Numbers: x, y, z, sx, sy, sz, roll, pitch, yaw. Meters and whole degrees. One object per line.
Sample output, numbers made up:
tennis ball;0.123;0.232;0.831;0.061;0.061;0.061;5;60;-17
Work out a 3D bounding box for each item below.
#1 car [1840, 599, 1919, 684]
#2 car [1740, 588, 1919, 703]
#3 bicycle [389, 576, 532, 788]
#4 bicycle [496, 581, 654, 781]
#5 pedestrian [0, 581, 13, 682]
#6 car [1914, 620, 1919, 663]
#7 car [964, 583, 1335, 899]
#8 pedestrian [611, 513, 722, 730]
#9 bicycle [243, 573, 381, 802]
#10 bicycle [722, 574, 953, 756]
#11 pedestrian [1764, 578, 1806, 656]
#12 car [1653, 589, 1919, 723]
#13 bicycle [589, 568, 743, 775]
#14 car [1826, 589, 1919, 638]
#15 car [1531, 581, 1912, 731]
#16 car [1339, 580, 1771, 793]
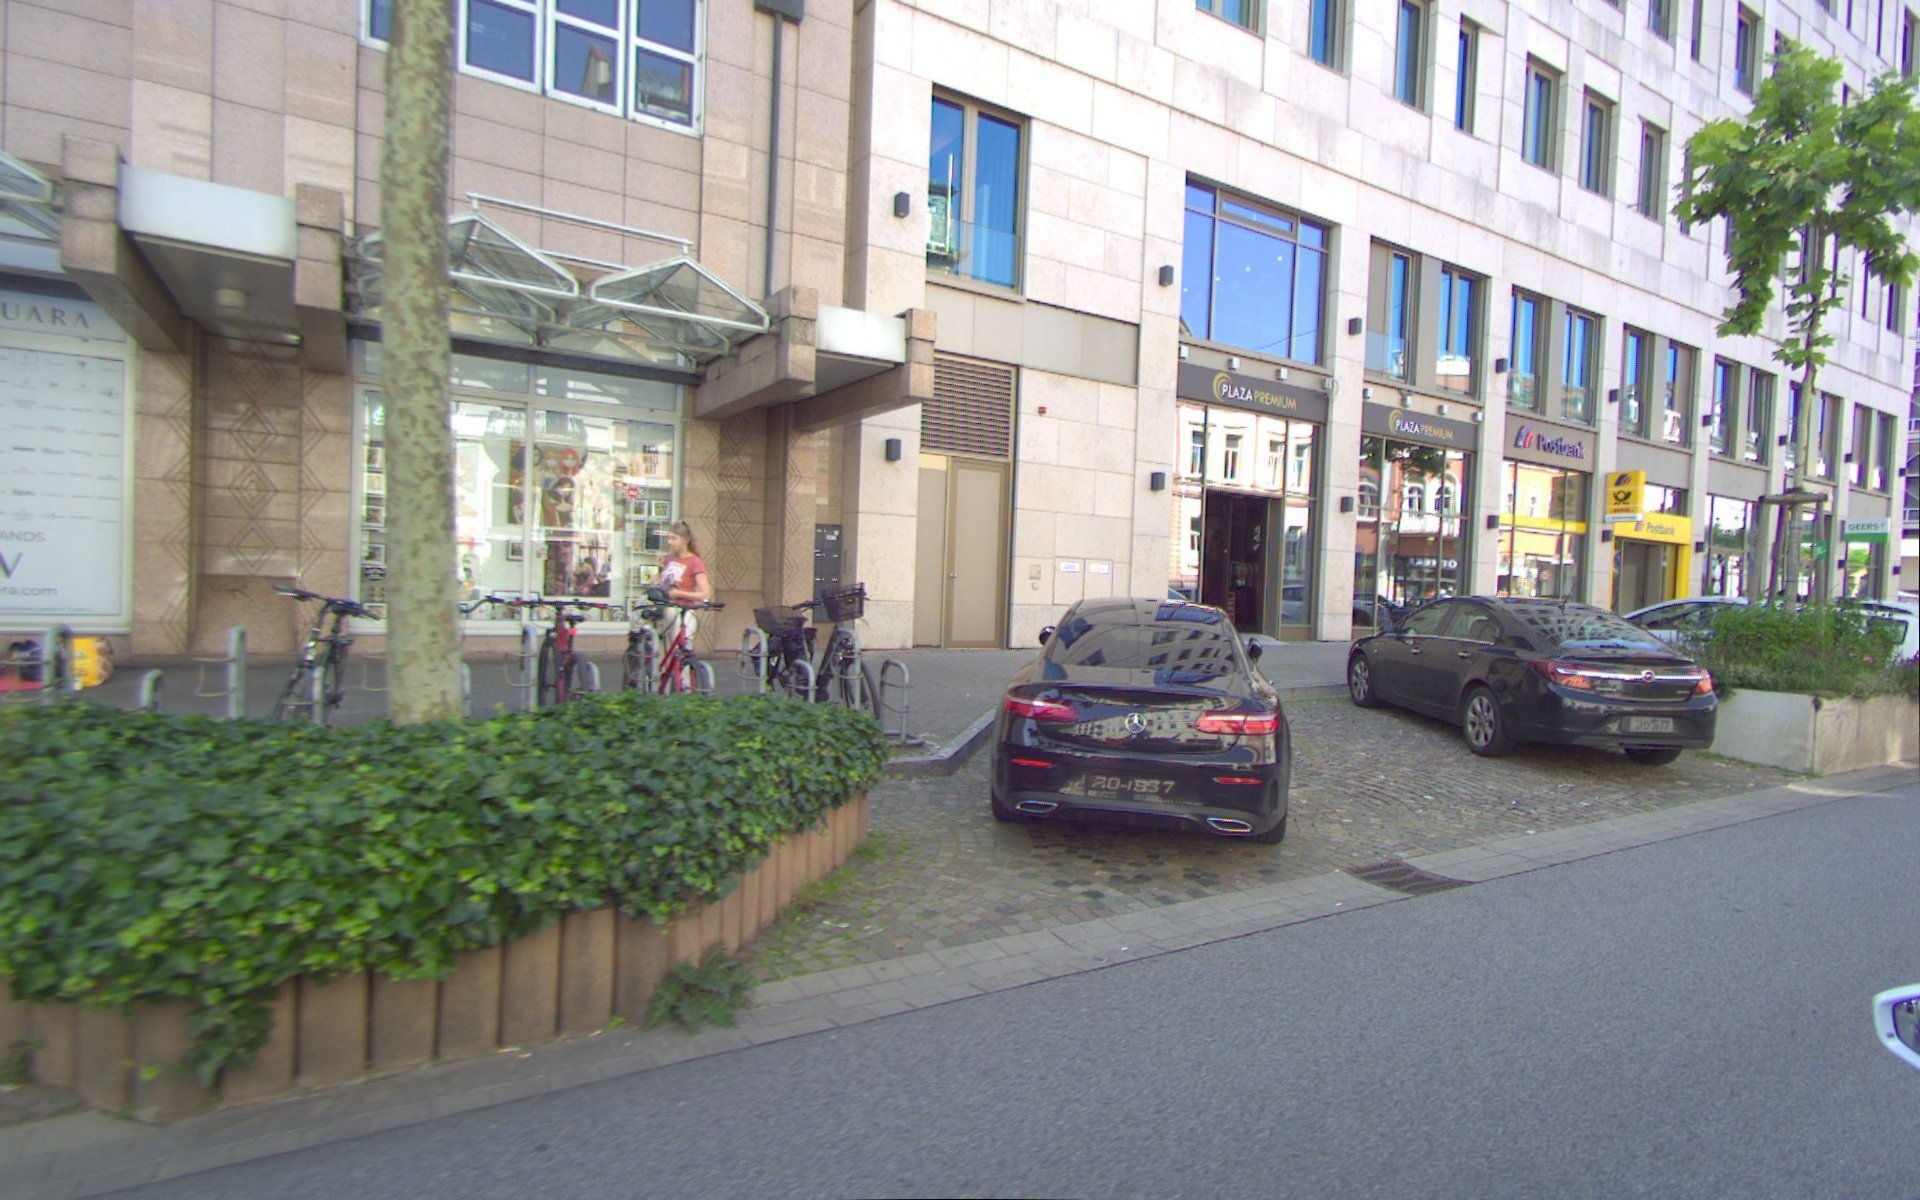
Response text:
car;19.220;0.943;19.063;1.636;1.479;4.000;5;5;6
car;16.304;0.796;17.649;1.668;1.589;3.995;4;5;-6
bicycle;-3.502;0.479;6.939;0.460;1.145;2.049;1;4;-38
bicycle;-2.851;0.503;7.300;0.460;1.145;2.049;1;4;-38
pedestrian;-8.464;0.267;8.335;0.765;0.820;0.562;1;6;-31
car;24.937;0.977;23.093;1.699;1.520;3.963;1;5;-33
car;1.446;0.680;7.573;1.868;1.427;4.652;3;3;12
pedestrian;-2.386;0.163;8.189;0.558;1.679;0.634;2;1;38
bicycle;-4.109;0.462;6.480;0.610;1.145;2.055;2;3;-30
bicycle;-1.087;0.477;8.473;2.042;1.236;0.756;6;4;43
pedestrian;22.046;0.441;26.849;0.692;2.041;0.621;1;1;-30
car;13.407;0.782;15.695;1.753;1.510;3.988;3;4;-14
bicycle;-2.322;0.467;7.745;0.364;1.306;2.049;1;4;-38
car;40.423;0.571;43.571;1.915;2.040;3.961;1;1;-34
car;10.800;0.686;14.545;1.700;1.520;3.960;1;5;-35
car;5.748;0.678;10.498;1.797;1.534;4.353;3;3;-1
